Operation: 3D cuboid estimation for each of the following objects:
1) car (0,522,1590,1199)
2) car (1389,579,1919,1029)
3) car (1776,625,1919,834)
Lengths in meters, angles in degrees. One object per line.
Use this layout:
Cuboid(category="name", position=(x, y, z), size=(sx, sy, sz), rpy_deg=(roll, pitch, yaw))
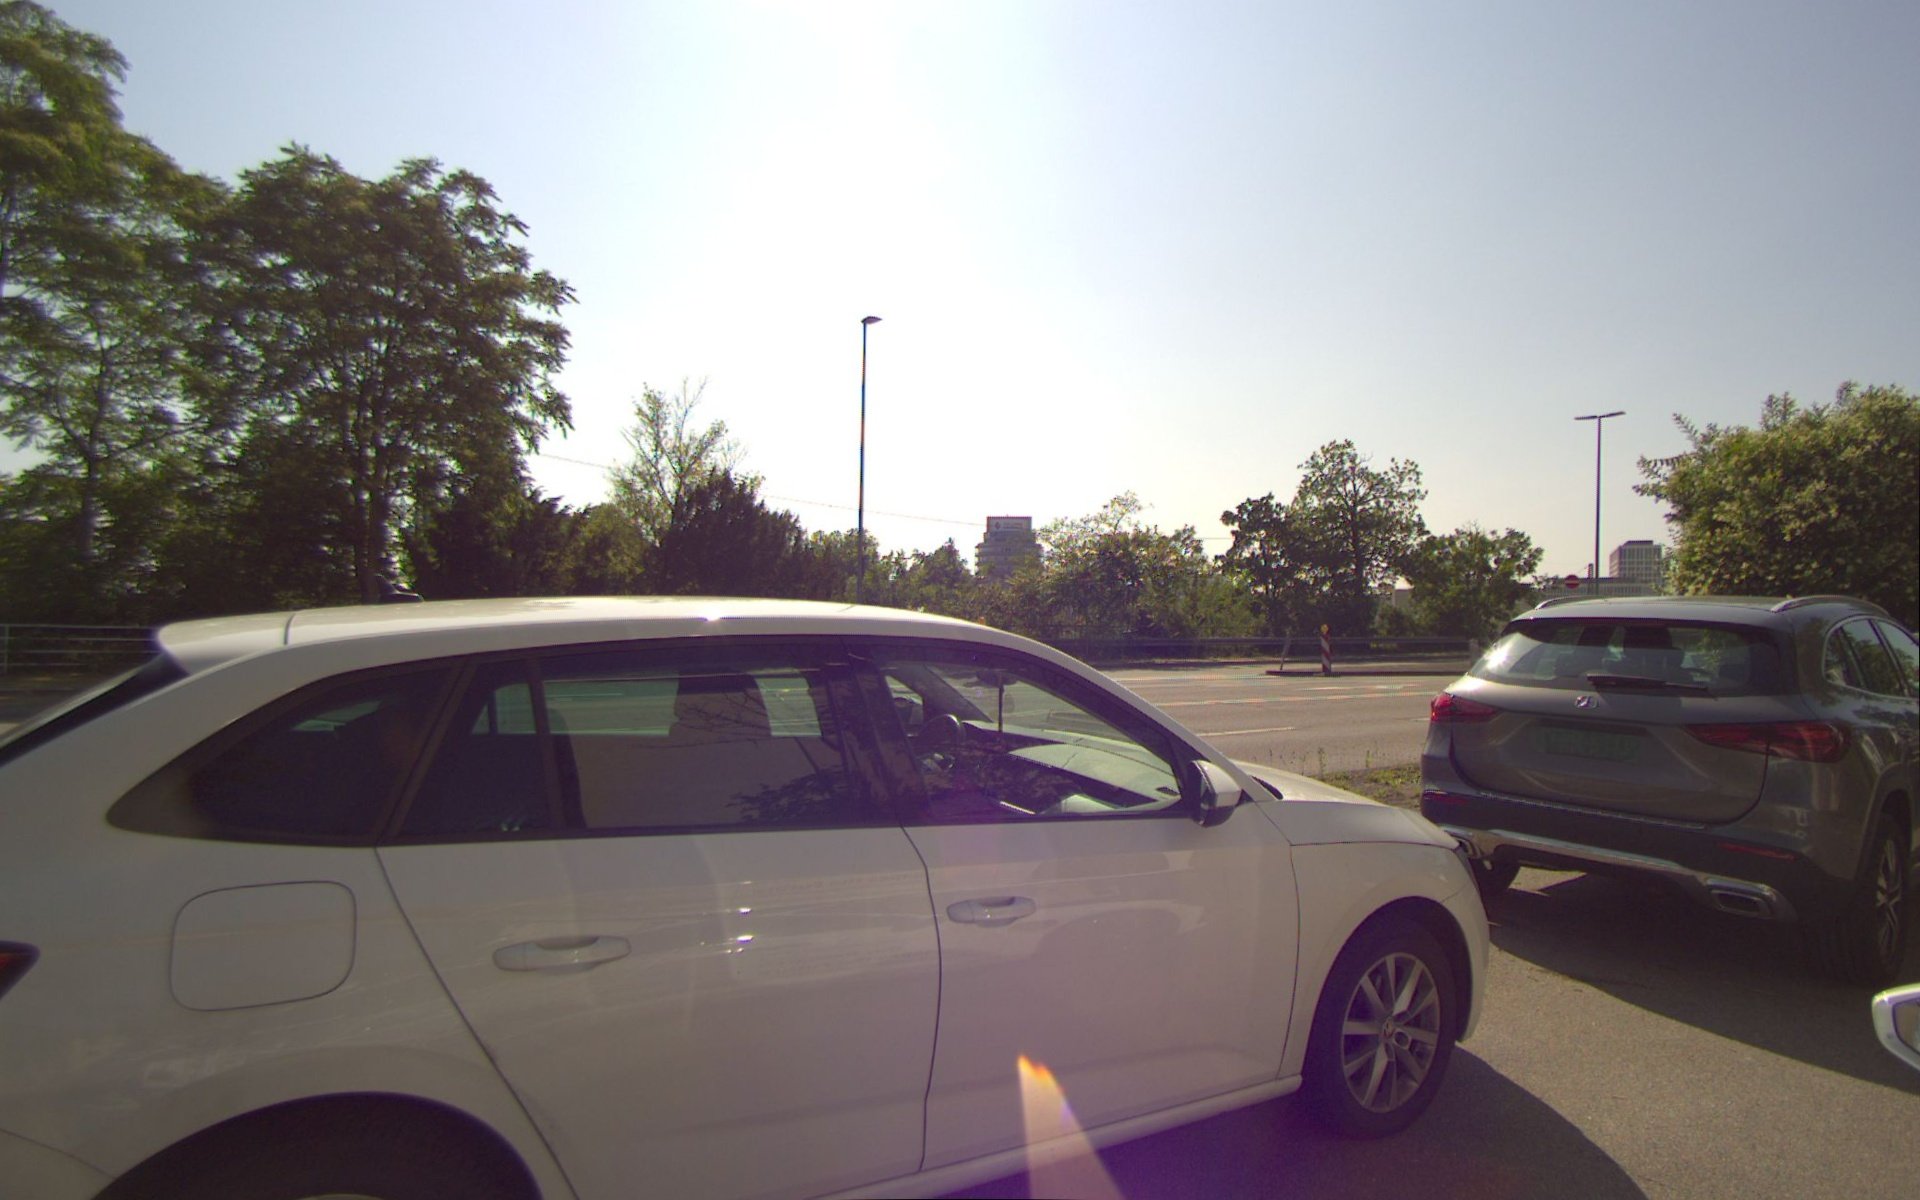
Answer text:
Cuboid(category="car", position=(-0.176, 0.704, 2.929), size=(4.083, 1.525, 1.713), rpy_deg=(1, -1, -30))
Cuboid(category="car", position=(4.318, 0.768, 5.528), size=(4.146, 1.600, 1.759), rpy_deg=(1, -1, -36))
Cuboid(category="car", position=(8.553, 0.974, 8.230), size=(3.830, 1.494, 1.656), rpy_deg=(1, -1, -30))
